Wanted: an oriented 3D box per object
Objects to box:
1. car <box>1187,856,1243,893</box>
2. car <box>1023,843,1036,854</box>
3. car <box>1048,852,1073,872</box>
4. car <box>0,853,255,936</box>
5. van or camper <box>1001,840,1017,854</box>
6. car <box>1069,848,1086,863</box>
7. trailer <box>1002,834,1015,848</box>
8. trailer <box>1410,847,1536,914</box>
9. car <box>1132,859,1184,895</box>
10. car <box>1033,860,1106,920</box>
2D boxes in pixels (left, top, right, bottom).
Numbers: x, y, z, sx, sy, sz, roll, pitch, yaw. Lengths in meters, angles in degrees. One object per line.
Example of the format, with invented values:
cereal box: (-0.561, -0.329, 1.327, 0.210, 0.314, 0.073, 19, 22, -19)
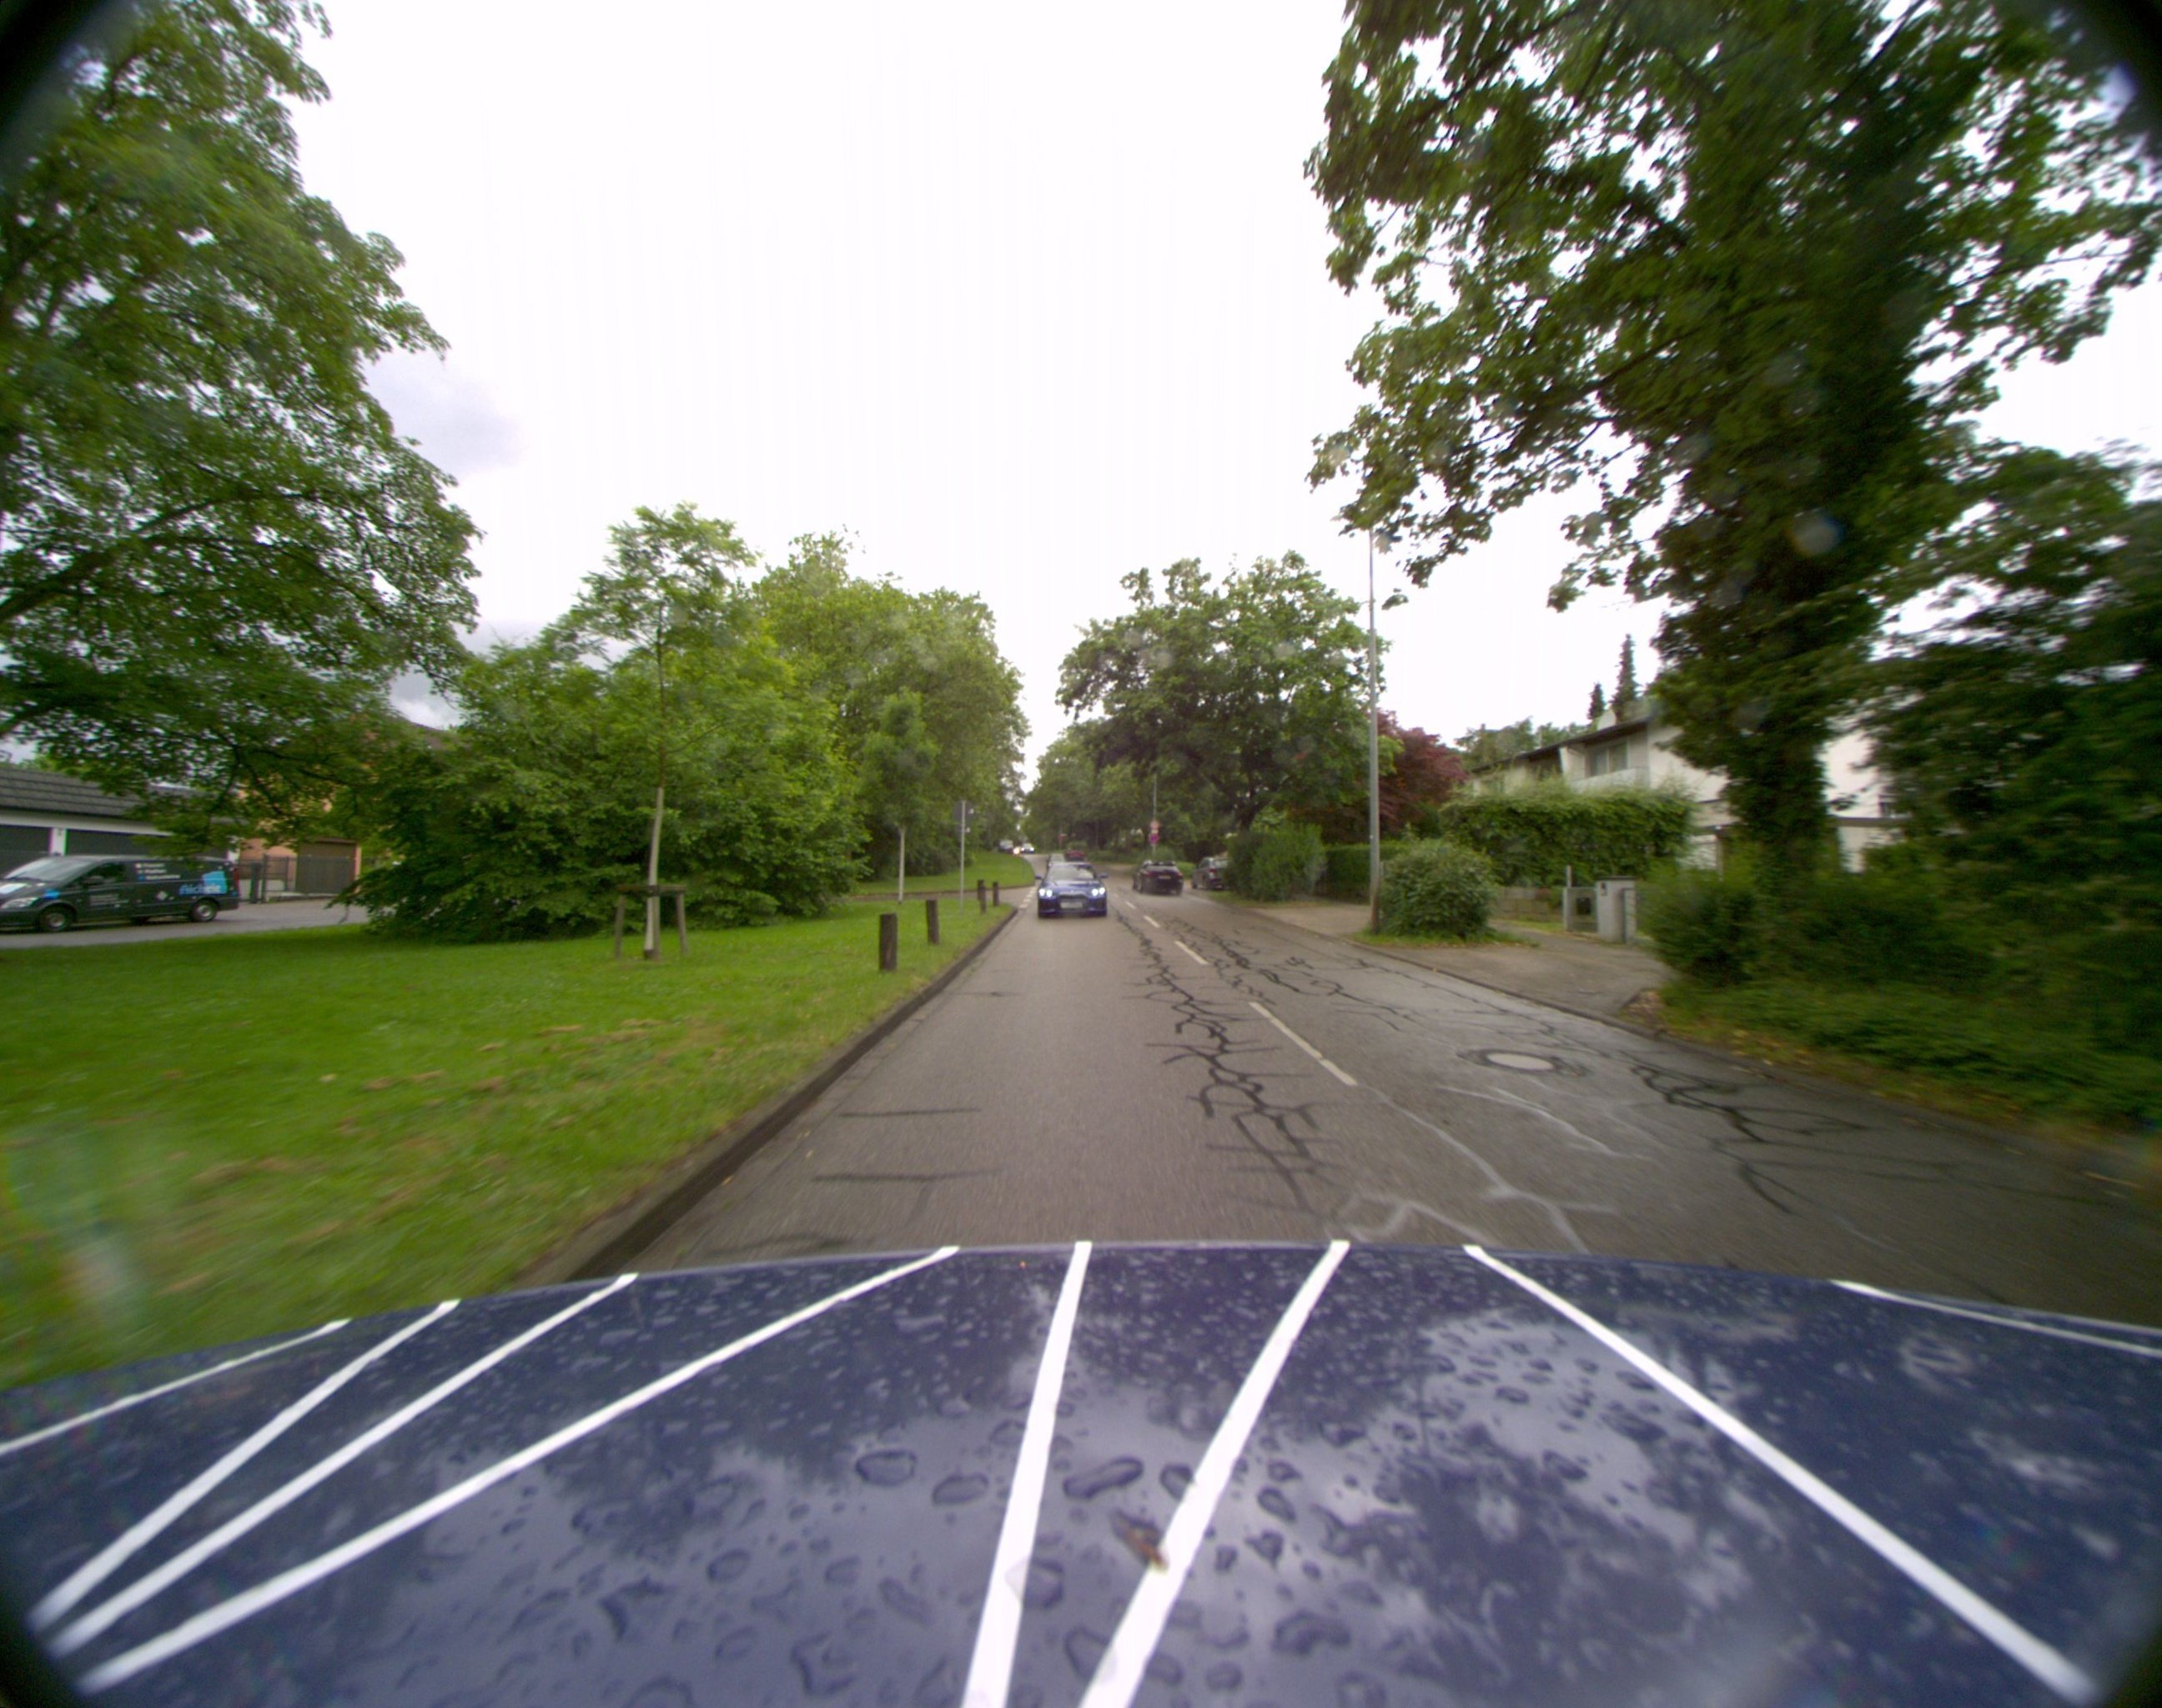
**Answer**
car: (6.346, 0.932, 36.418, 1.668, 1.533, 4.282, -3, 0, -3)
car: (-7.742, -0.835, 114.793, 1.678, 1.542, 3.833, 1, 0, 1)
car: (-1.618, 0.607, 57.952, 1.796, 1.458, 4.509, 0, -1, -3)
car: (-25.521, 0.941, 19.972, 2.165, 1.867, 5.069, 1, 0, -2)
van or camper: (-9.837, -1.018, 103.360, 2.000, 1.858, 5.660, 1, 1, -7)
car: (-0.408, 0.145, 82.411, 1.694, 1.388, 4.488, 1, 2, -2)
trailer: (-10.358, -1.878, 108.332, 1.702, 2.042, 3.948, 1, 1, -7)
trailer: (12.187, 0.835, 23.697, 3.127, 1.788, 1.425, 5, -2, -6)
car: (3.348, 0.995, 33.929, 1.759, 1.355, 4.324, 2, 1, -1)
car: (-0.224, 0.940, 21.706, 1.796, 1.458, 4.511, -1, 0, 2)
